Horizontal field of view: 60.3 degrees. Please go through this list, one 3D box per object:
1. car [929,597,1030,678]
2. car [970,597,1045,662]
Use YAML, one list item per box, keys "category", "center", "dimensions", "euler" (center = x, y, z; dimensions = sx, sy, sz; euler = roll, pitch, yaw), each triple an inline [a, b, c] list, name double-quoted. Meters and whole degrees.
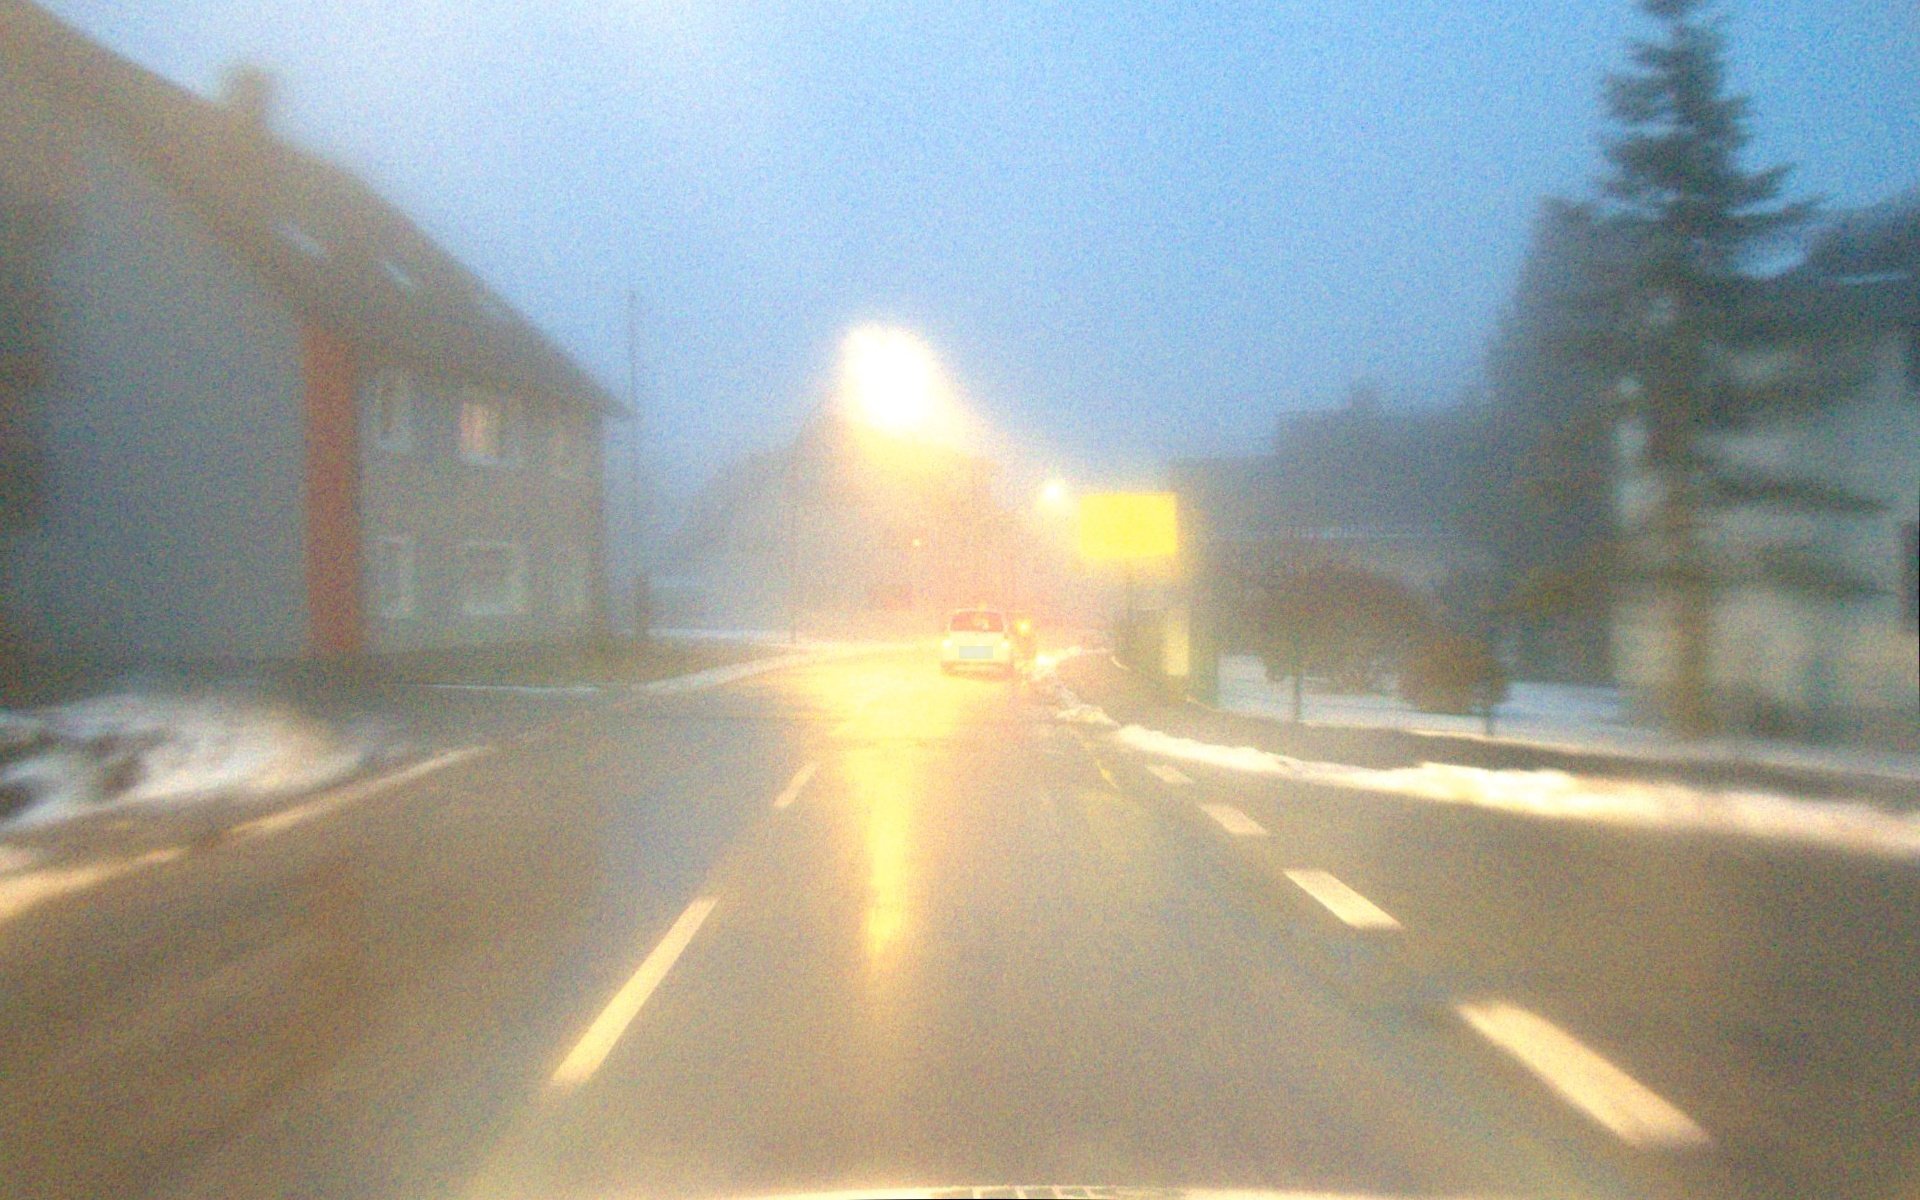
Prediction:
- category: "car"
  center: [0.498, 0.788, 36.843]
  dimensions: [1.951, 1.534, 4.003]
  euler: [-2, 1, 4]
- category: "car"
  center: [1.587, 0.924, 54.242]
  dimensions: [1.951, 1.869, 4.004]
  euler: [-2, 1, 8]
